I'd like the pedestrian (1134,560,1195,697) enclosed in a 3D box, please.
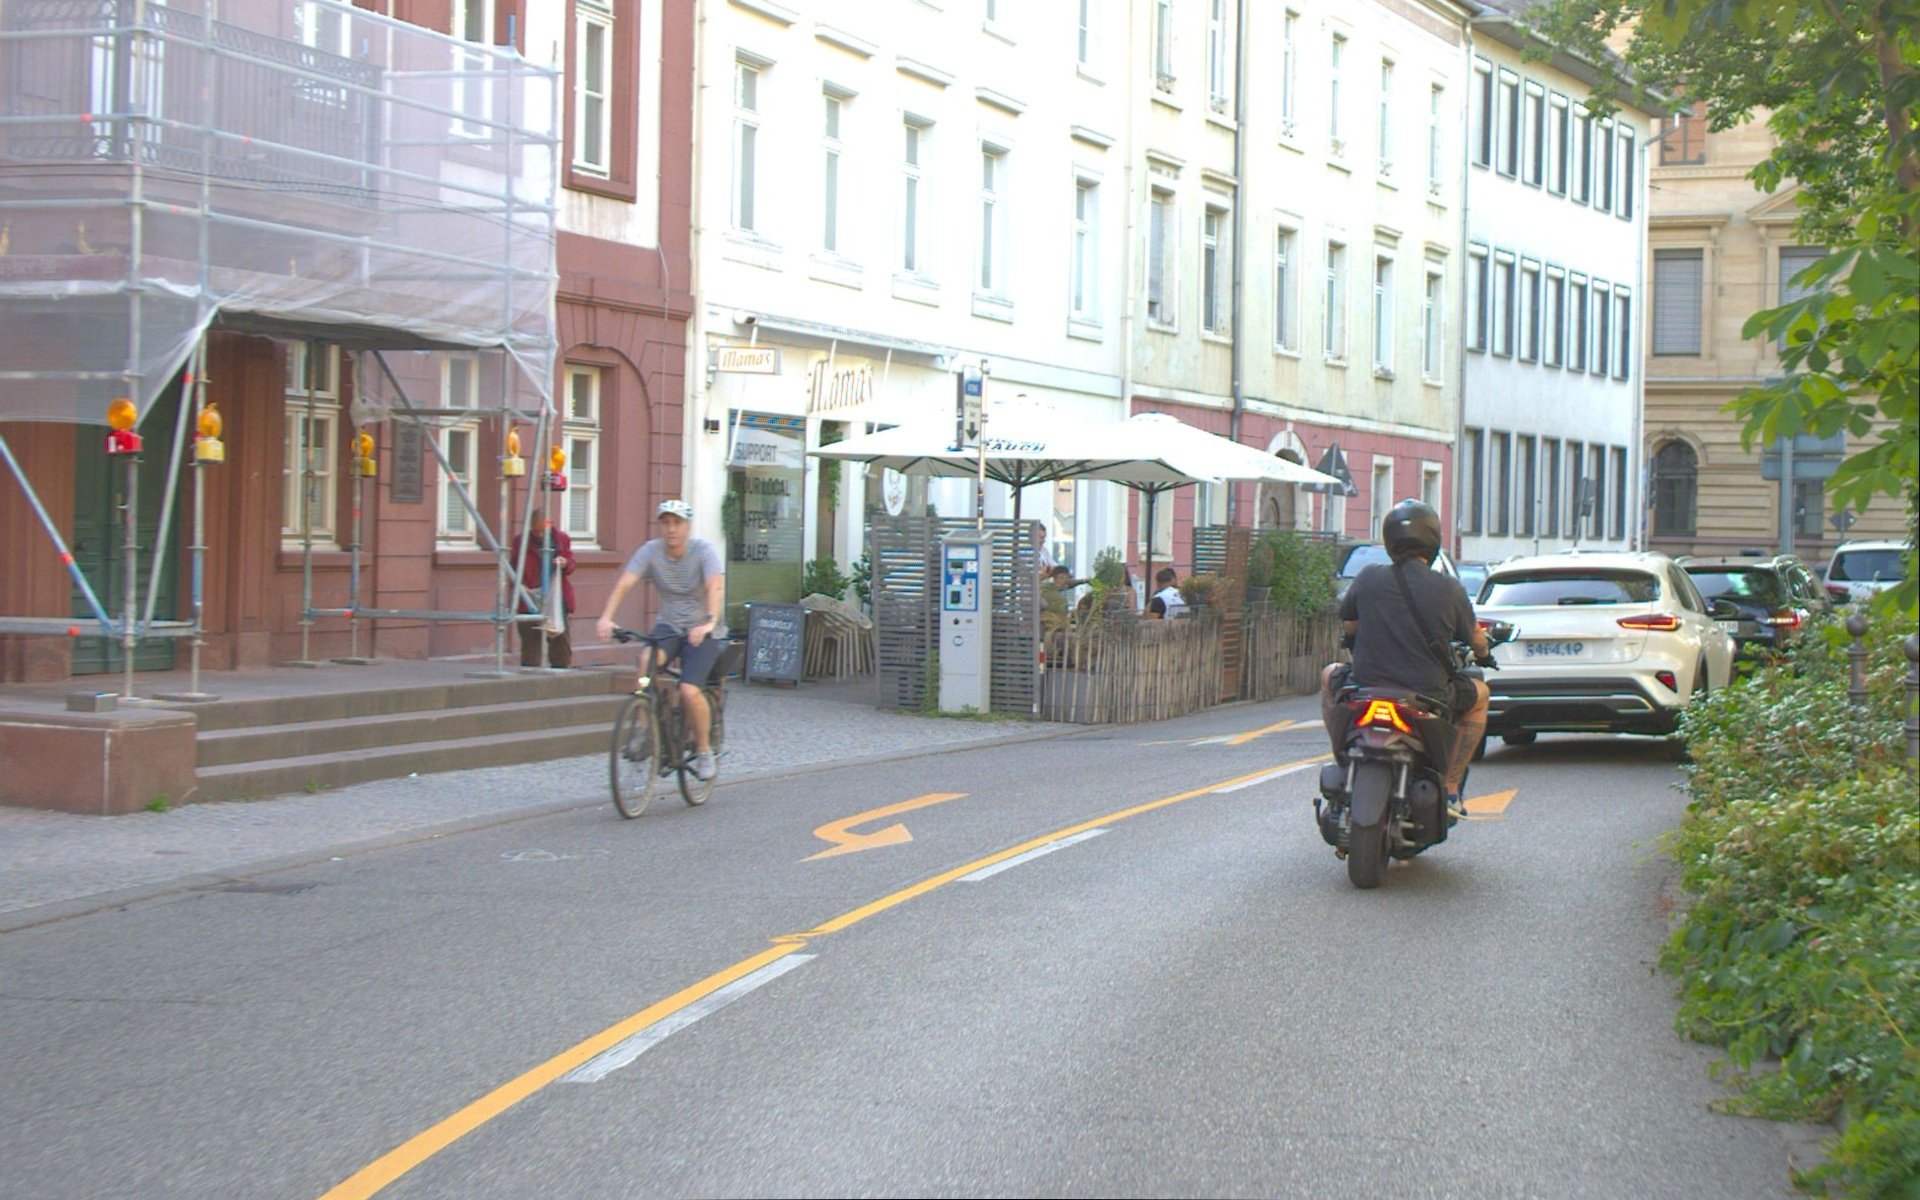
[{"bbox_3d":[2.159,0.297,36.315,0.471,1.428,0.501,1,1,24],"label":"pedestrian"}]

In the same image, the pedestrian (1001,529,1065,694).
[{"bbox_3d":[0.793,0.118,37.307,0.438,1.769,0.596,1,1,33],"label":"pedestrian"}]

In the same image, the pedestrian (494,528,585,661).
[{"bbox_3d":[-3.389,-0.052,27.735,0.537,1.049,0.551,2,2,15],"label":"pedestrian"}]

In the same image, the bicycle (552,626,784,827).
[{"bbox_3d":[-1.711,0.724,20.527,0.772,1.059,2.077,1,1,13],"label":"bicycle"}]

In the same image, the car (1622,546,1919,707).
[{"bbox_3d":[8.246,0.219,34.414,1.843,1.458,4.050,3,2,31],"label":"car"}]

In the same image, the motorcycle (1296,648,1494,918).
[{"bbox_3d":[1.997,0.795,15.605,0.797,1.062,1.724,2,2,9],"label":"motorcycle"}]

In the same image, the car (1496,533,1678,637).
[{"bbox_3d":[10.538,-0.285,57.564,1.936,1.662,4.341,0,1,25],"label":"car"}]

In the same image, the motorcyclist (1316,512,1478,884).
[{"bbox_3d":[1.998,0.429,15.678,0.657,1.645,0.650,1,1,11],"label":"motorcyclist"}]

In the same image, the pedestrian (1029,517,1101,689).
[{"bbox_3d":[1.098,0.028,35.843,0.596,1.769,0.438,1,1,28],"label":"pedestrian"}]

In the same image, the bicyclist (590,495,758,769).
[{"bbox_3d":[-1.701,0.176,20.516,0.744,1.578,0.794,2,2,14],"label":"bicyclist"}]

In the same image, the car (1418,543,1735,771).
[{"bbox_3d":[4.658,0.352,25.547,1.852,1.475,4.054,2,2,16],"label":"car"}]

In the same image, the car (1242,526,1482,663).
[{"bbox_3d":[5.281,-0.111,44.557,1.924,1.674,4.780,0,1,22],"label":"car"}]
